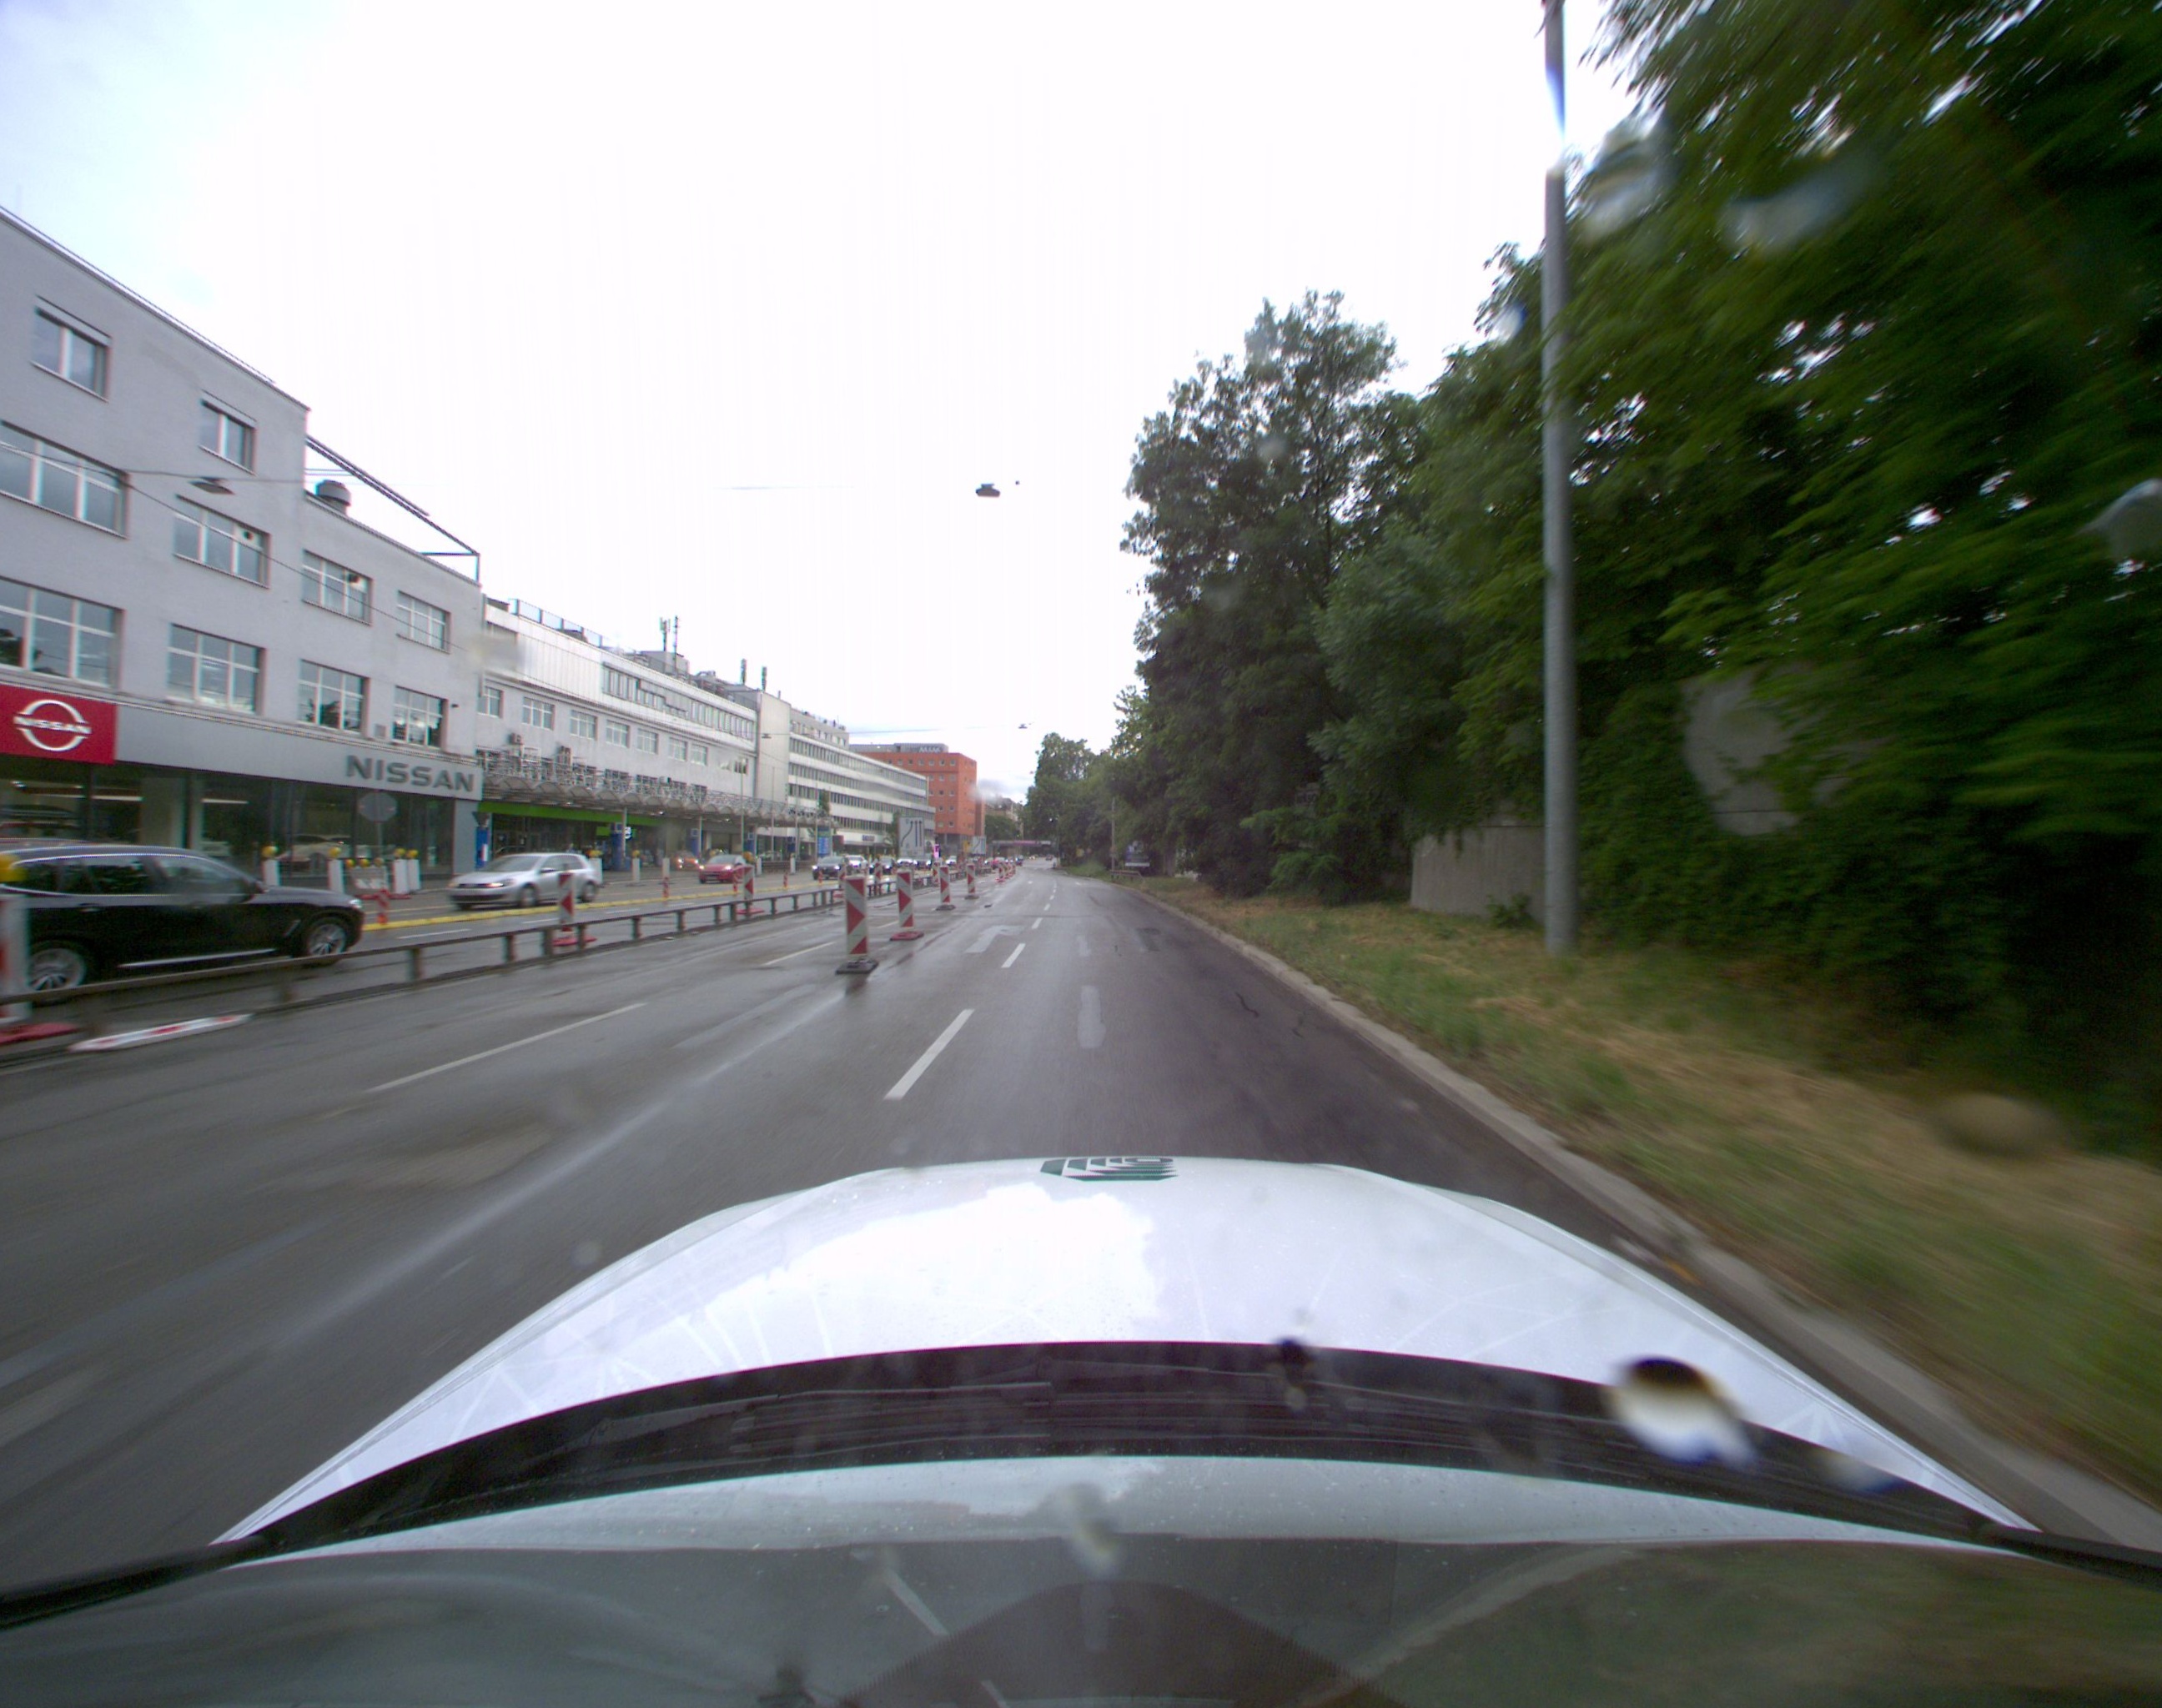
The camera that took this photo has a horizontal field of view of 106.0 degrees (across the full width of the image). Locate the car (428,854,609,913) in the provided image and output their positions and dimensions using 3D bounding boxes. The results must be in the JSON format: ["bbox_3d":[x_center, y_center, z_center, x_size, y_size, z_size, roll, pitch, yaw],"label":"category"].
[{"bbox_3d":[-14.956,0.719,22.018,1.774,1.381,4.455,-1,0,0],"label":"car"}]

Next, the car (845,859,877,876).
[{"bbox_3d":[-18.878,1.136,69.967,1.775,1.381,3.997,-1,0,-2],"label":"car"}]

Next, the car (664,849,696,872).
[{"bbox_3d":[-30.652,0.487,62.245,1.811,1.655,3.961,2,0,-31],"label":"car"}]

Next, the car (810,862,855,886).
[{"bbox_3d":[-15.627,1.234,51.371,1.775,1.381,3.996,-1,0,-3],"label":"car"}]

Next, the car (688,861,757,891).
[{"bbox_3d":[-18.521,1.107,42.236,1.774,1.381,3.999,-1,0,0],"label":"car"}]
